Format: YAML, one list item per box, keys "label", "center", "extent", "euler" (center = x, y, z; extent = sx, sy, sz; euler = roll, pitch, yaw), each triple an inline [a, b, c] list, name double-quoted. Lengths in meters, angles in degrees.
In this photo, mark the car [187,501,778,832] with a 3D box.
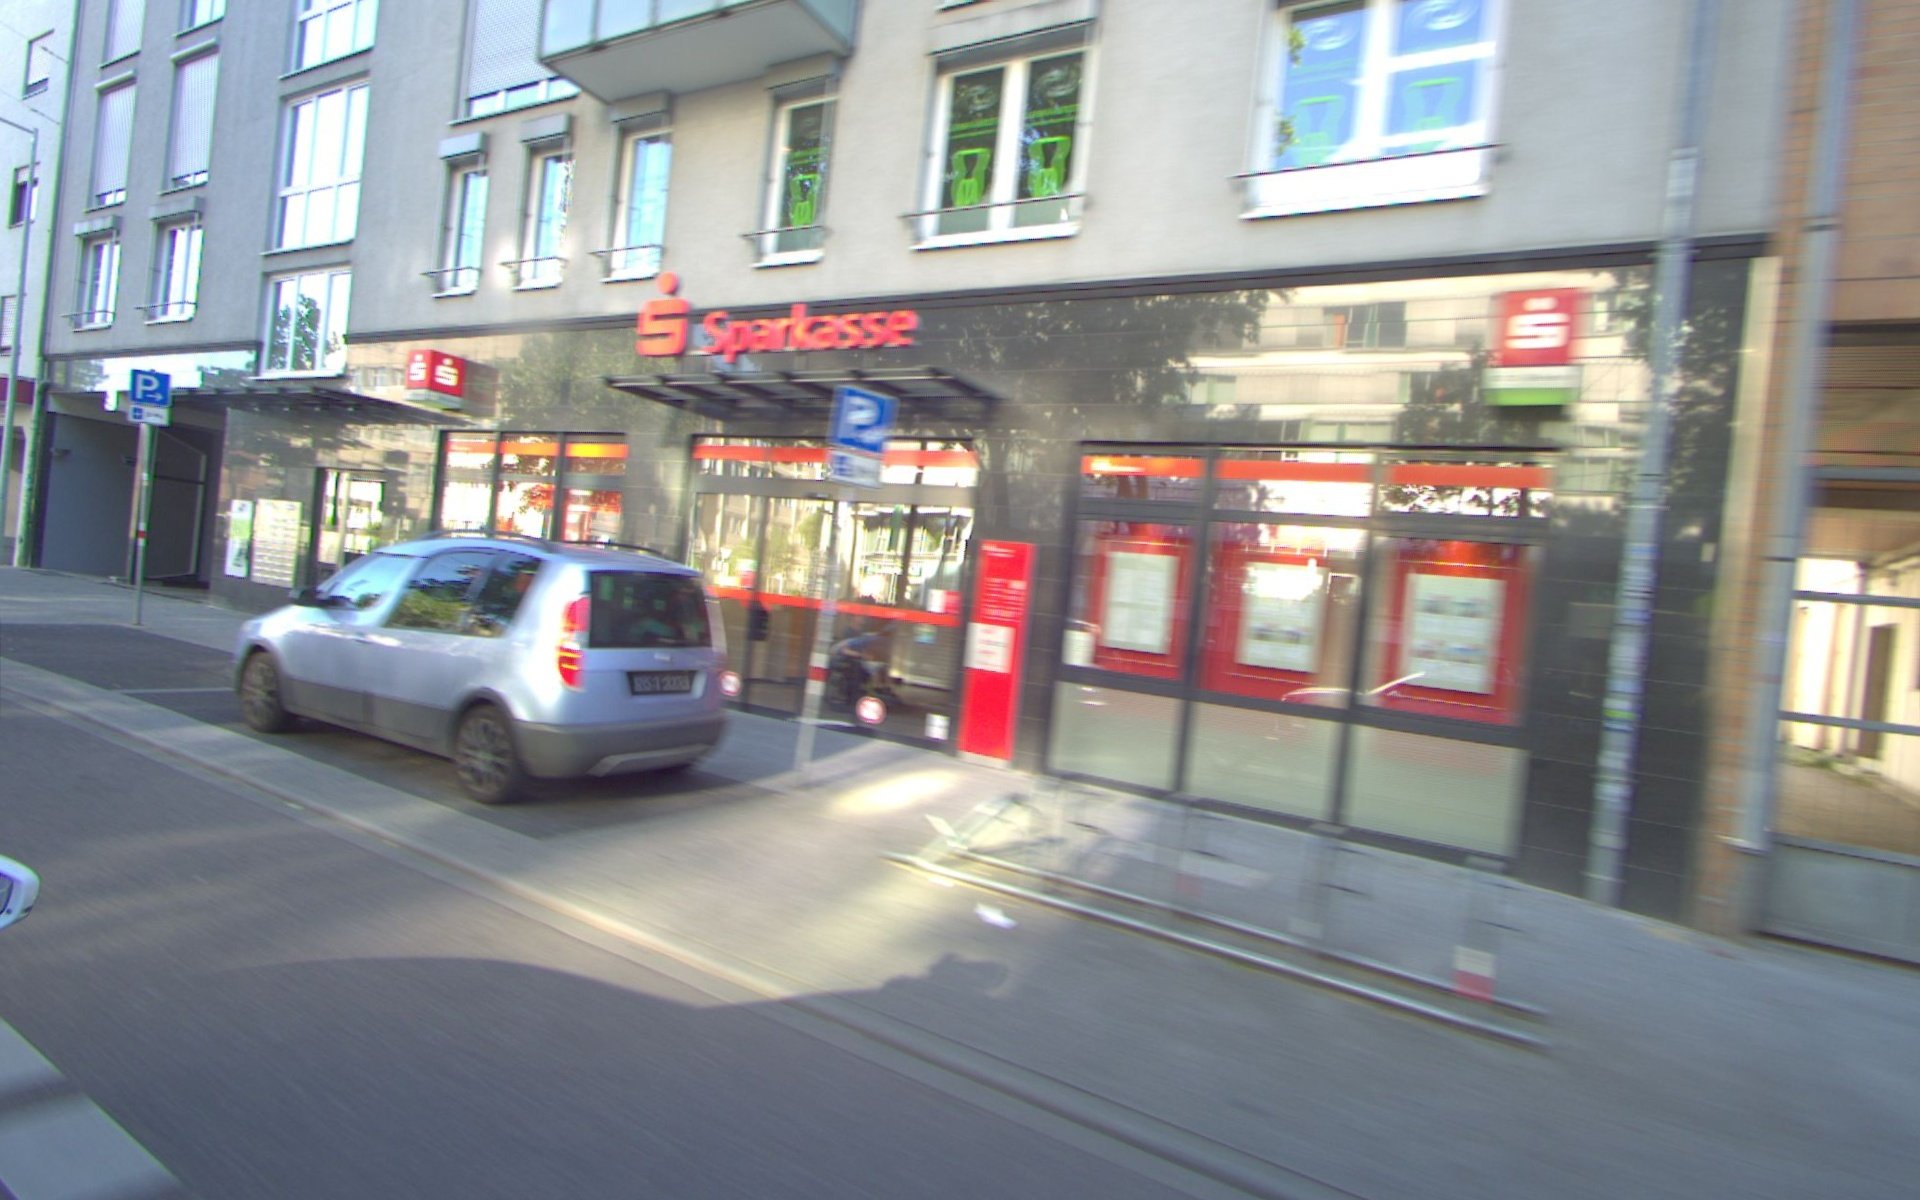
- label: "car"
  center: [-3.585, 0.280, 7.333]
  extent: [4.213, 1.644, 1.833]
  euler: [6, 2, 31]
